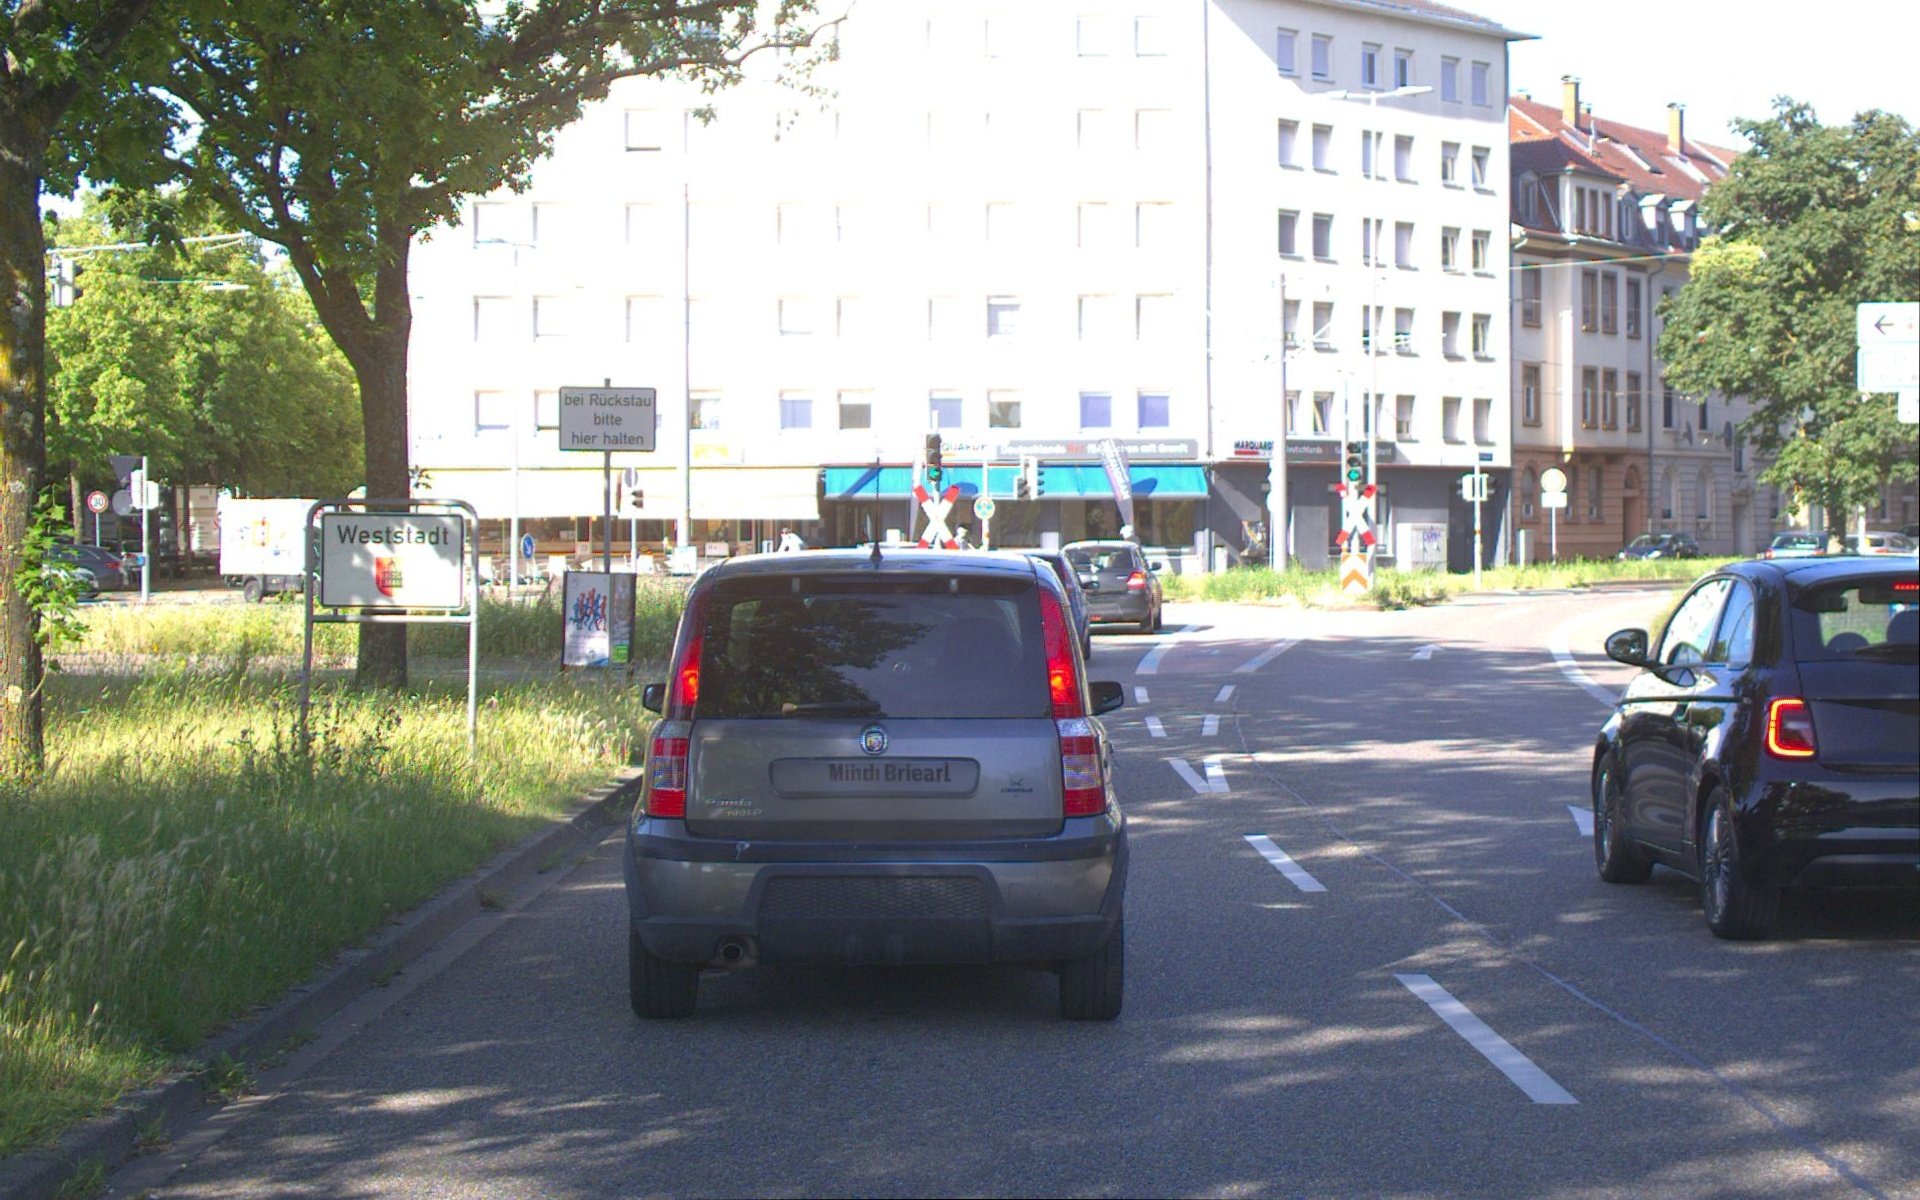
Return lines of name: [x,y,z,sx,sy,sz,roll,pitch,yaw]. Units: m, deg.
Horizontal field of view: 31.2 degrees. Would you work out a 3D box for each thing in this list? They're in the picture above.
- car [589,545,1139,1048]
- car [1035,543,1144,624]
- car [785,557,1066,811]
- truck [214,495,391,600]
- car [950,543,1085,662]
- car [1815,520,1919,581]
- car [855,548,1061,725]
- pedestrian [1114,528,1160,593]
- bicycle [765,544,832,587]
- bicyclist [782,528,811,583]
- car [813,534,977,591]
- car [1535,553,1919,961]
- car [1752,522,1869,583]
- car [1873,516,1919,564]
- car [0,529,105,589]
car: [-0.262,0.570,12.028,1.660,1.505,3.251,0,1,1]
car: [2.081,-0.269,55.181,1.690,1.249,3.626,0,0,2]
car: [-0.223,0.462,21.725,1.621,1.424,3.688,0,1,-1]
truck: [-15.624,-1.251,81.616,4.105,2.418,1.790,1,1,35]
car: [0.734,0.004,43.593,1.646,1.433,3.396,0,1,1]
car: [23.728,-1.305,89.087,1.823,1.503,3.993,0,2,33]
car: [-0.048,0.281,31.655,1.760,1.481,4.294,0,1,-1]
pedestrian: [3.959,-0.881,76.955,0.773,1.423,0.939,1,0,-14]
bicycle: [-4.044,-0.864,86.042,1.581,1.086,0.531,0,1,17]
bicyclist: [-4.089,-1.114,86.039,0.596,1.352,0.531,0,1,17]
car: [-1.522,-0.874,78.853,1.993,1.238,4.000,0,1,-31]
car: [3.631,0.566,14.702,1.674,1.498,3.562,0,1,-1]
car: [21.034,-1.189,84.957,1.778,1.437,3.612,1,2,32]
car: [32.541,-2.022,115.601,1.904,1.588,4.001,-1,1,-13]
car: [-23.348,-1.013,84.403,4.387,1.443,1.669,0,1,-7]
